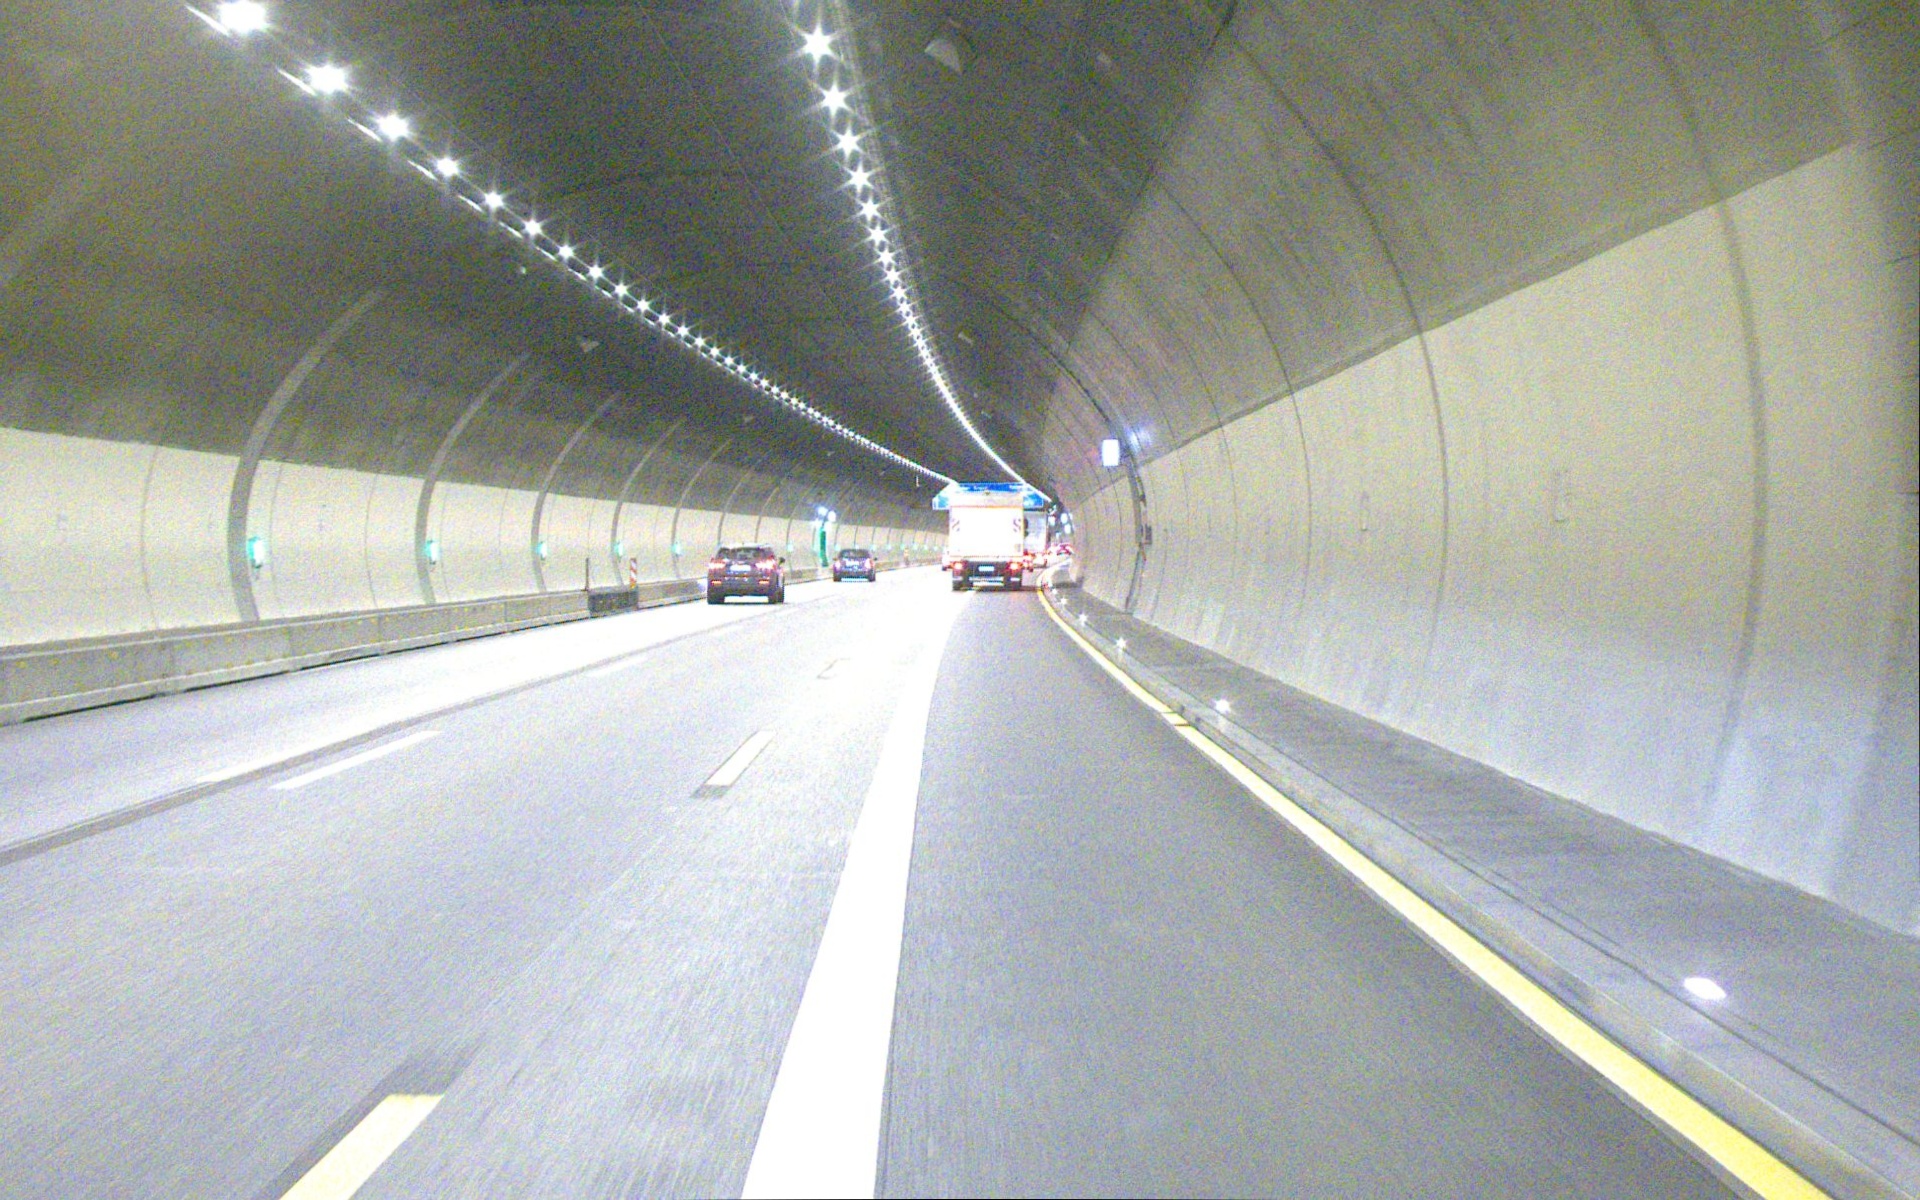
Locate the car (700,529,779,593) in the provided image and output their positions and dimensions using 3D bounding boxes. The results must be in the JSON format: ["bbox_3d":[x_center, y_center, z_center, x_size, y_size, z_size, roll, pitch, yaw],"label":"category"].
[{"bbox_3d":[-5.732,-1.031,89.861,1.812,1.612,4.000,0,1,0],"label":"car"}]

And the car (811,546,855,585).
[{"bbox_3d":[-5.382,-1.461,145.793,1.812,1.514,4.001,0,3,-1],"label":"car"}]

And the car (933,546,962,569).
[{"bbox_3d":[-0.767,-2.613,211.407,1.650,1.270,4.001,0,3,-1],"label":"car"}]

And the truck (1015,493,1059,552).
[{"bbox_3d":[5.488,-5.566,247.997,2.923,4.034,14.030,-1,1,1],"label":"truck"}]

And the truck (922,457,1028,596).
[{"bbox_3d":[0.414,-2.647,124.948,3.278,4.634,17.288,-1,1,-1],"label":"truck"}]
